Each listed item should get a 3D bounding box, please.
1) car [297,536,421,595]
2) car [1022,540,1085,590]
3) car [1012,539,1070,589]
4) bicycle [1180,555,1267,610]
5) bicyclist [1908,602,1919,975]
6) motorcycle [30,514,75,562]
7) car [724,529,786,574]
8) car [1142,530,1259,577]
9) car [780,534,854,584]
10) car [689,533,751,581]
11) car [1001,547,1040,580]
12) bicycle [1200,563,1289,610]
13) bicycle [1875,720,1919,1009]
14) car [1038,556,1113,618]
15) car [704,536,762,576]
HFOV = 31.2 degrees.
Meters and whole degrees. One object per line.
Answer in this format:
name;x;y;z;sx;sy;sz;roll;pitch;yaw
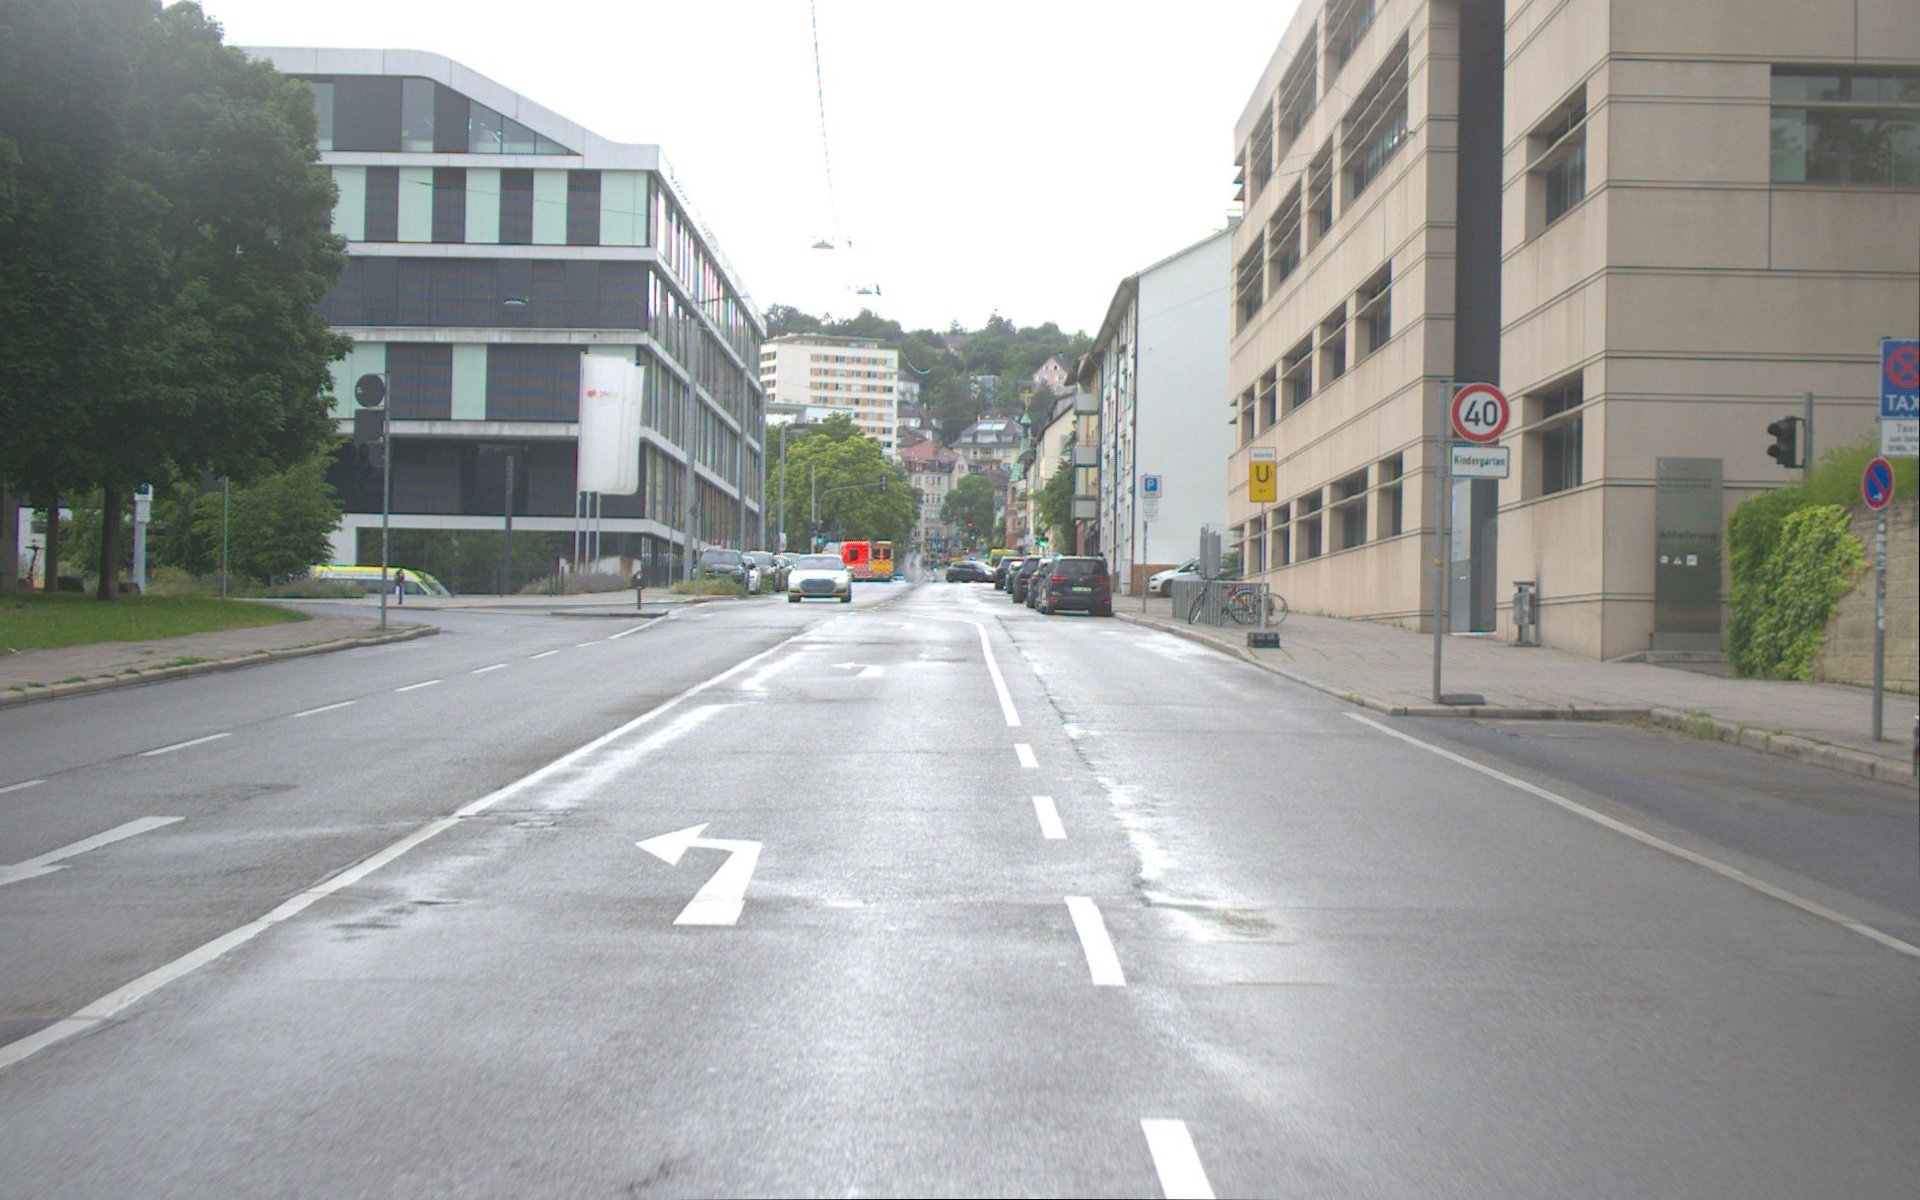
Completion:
car;-23.617;-1.357;135.233;4.589;2.167;1.932;2;0;-6
car;3.008;-1.122;110.765;1.743;1.528;4.320;2;1;-2
car;2.983;-1.325;127.448;1.935;1.744;4.797;2;1;0
bicycle;5.511;-0.369;71.928;1.729;1.115;0.660;1;0;-5
bicyclist;3.554;0.586;11.510;0.484;1.428;0.930;2;0;2
motorcycle;-22.810;-1.561;86.412;1.226;1.181;0.412;2;0;38
car;-8.306;-1.961;139.679;1.963;1.744;4.941;2;1;2
car;9.507;-1.852;136.133;4.438;1.707;1.905;-2;0;0
car;-4.468;-1.310;108.345;1.882;1.486;5.219;-1;1;2
car;-8.544;-1.530;122.834;1.849;1.612;4.491;2;1;0
car;2.822;-1.718;161.805;1.706;1.449;3.985;2;1;0
bicycle;5.866;-0.276;70.947;1.758;0.950;0.660;1;0;-3
bicycle;3.543;0.943;11.683;0.447;0.960;1.690;1;1;2
car;3.156;-0.369;94.777;1.771;1.598;4.395;2;1;-2
car;-8.532;-1.659;129.537;1.821;1.414;4.402;2;1;0
